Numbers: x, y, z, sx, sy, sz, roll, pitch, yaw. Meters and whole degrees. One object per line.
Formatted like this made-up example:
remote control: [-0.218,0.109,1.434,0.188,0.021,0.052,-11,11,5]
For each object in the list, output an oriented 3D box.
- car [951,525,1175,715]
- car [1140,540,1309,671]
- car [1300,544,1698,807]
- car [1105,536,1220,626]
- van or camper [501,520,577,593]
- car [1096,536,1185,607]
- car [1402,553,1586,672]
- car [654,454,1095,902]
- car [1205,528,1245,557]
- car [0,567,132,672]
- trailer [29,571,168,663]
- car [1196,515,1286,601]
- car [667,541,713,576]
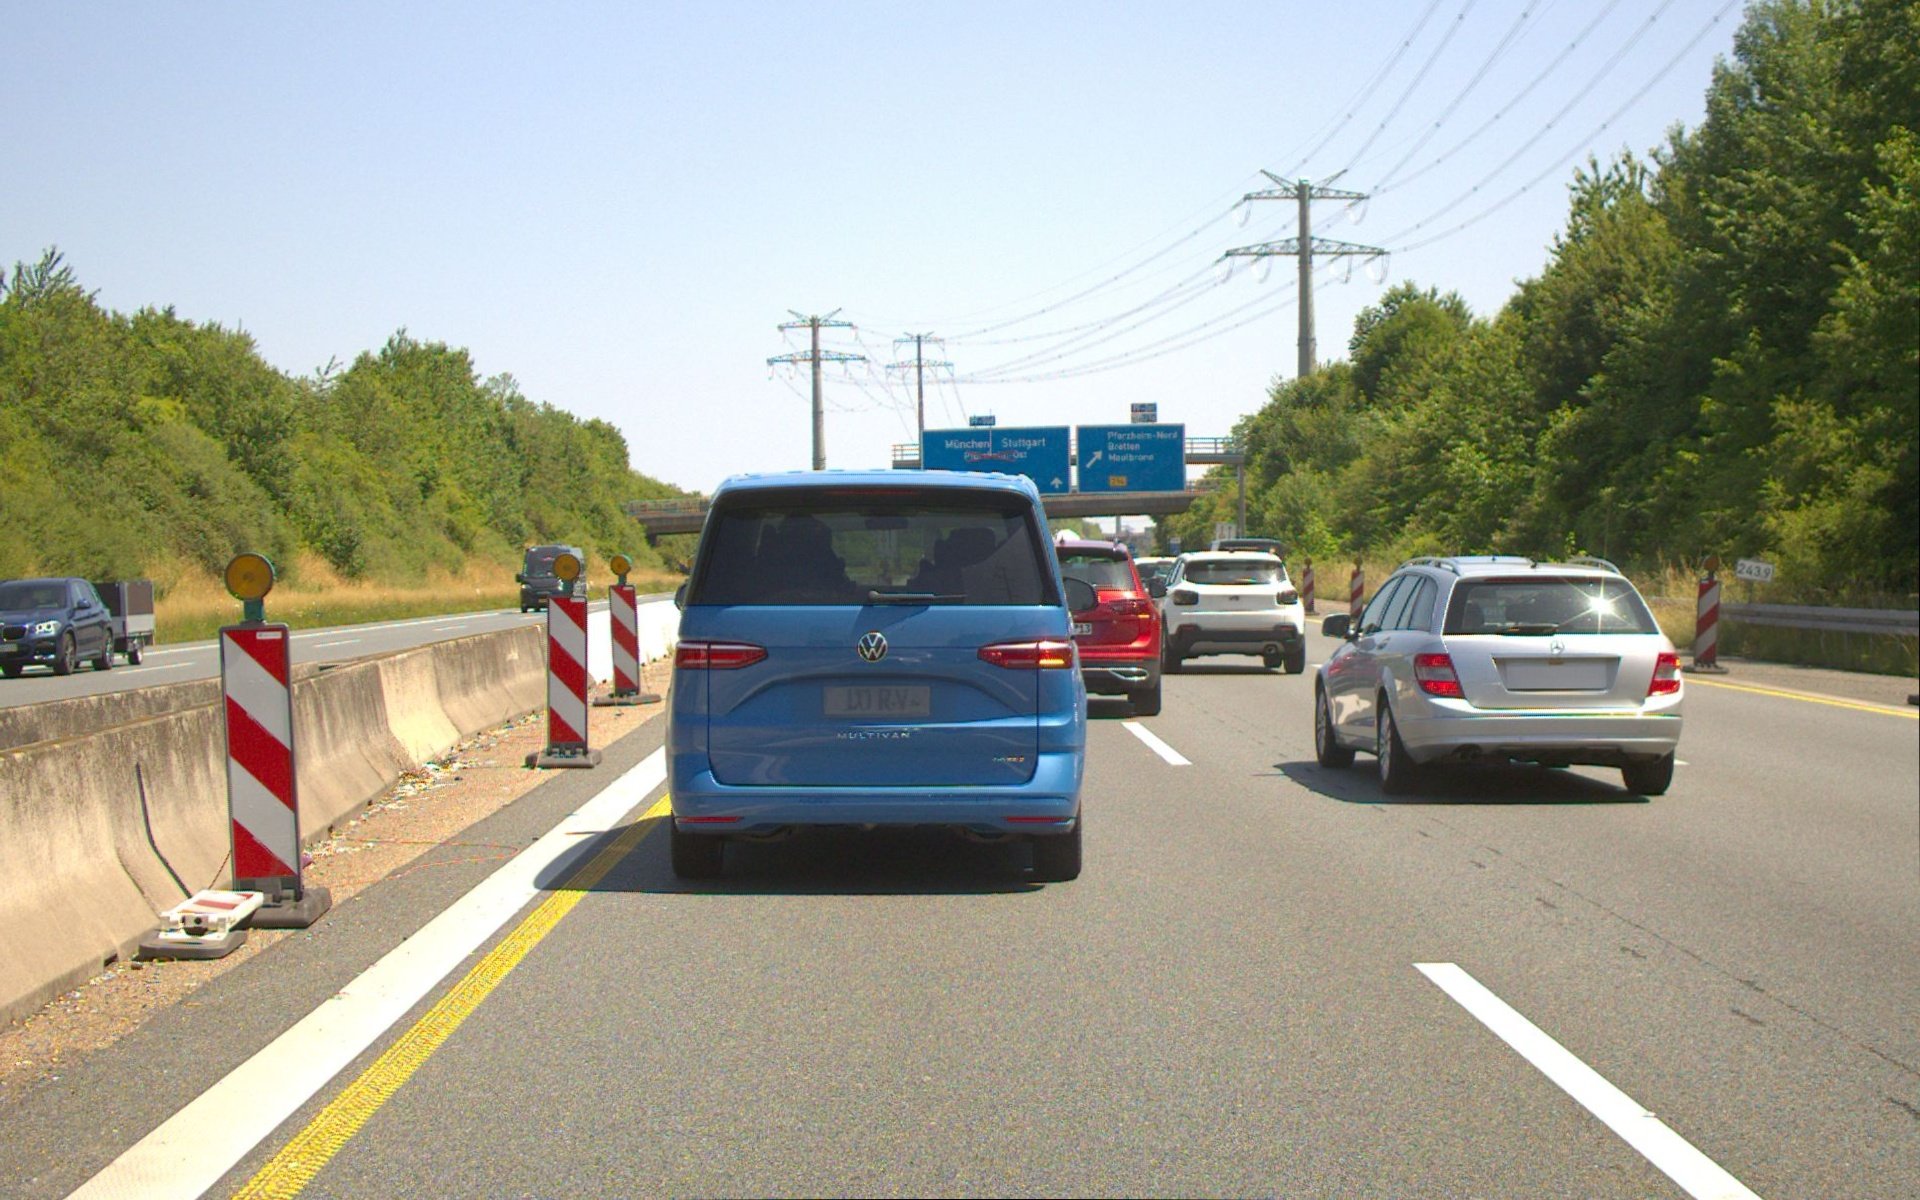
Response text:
car: [0.909,0.151,32.779,1.874,1.665,4.360,1,1,-1]
car: [3.356,0.046,44.323,1.797,1.588,4.227,1,1,-1]
car: [3.362,0.418,22.254,1.770,1.512,4.360,1,1,-1]
car: [3.685,-0.359,63.166,1.797,1.588,4.227,1,1,-1]
van or camper: [-16.665,-1.714,136.461,2.222,2.701,7.081,-3,1,-2]
car: [4.201,-0.680,80.666,1.797,1.588,4.227,1,1,-1]
car: [6.797,0.131,44.086,1.701,1.443,3.788,1,1,-1]
car: [-0.421,0.313,16.977,1.874,1.905,4.360,1,1,-1]
car: [15.705,-3.427,203.889,1.874,1.665,4.360,1,1,-1]
car: [-15.780,0.322,58.946,1.993,1.644,4.630,-3,1,0]
trailer: [-15.798,0.285,63.169,1.568,1.546,3.779,-3,1,0]
car: [6.819,-1.022,83.707,1.797,2.007,4.227,1,1,0]
car: [-13.826,-2.112,176.283,1.993,1.678,4.153,-3,1,-1]
